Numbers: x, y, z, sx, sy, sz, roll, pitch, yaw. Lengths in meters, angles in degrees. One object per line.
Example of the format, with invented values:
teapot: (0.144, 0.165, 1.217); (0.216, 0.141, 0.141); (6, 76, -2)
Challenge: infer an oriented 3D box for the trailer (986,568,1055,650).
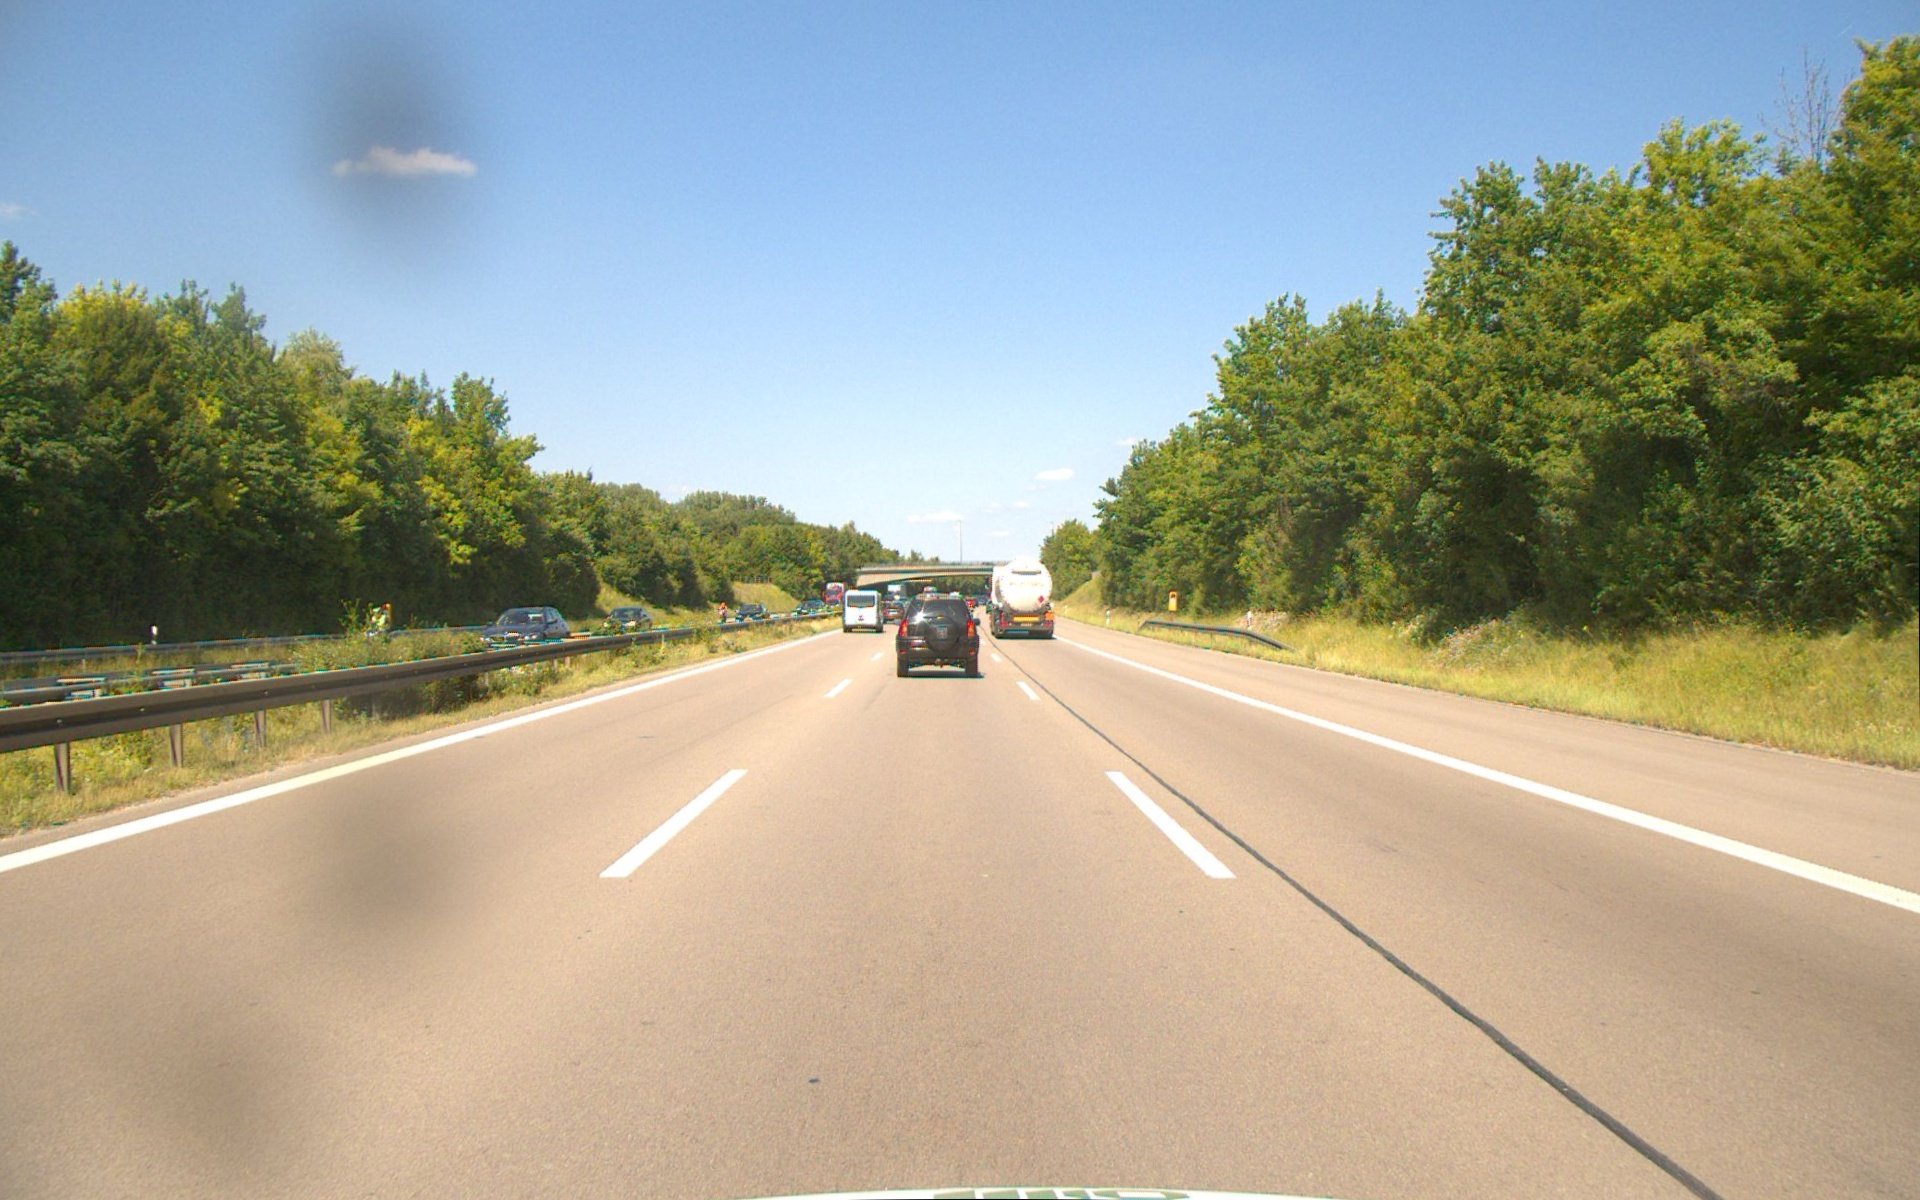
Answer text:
trailer: (2.647, 0.450, 75.332); (2.594, 3.449, 11.149); (1, -1, -1)

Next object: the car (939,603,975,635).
car: (-0.143, 1.116, 95.097); (1.952, 1.713, 4.000); (0, -2, 2)

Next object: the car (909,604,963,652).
car: (-0.905, 1.059, 62.933); (1.953, 1.736, 4.335); (-1, -1, 0)

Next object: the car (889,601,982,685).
car: (-0.471, 0.912, 35.771); (1.867, 1.694, 4.000); (0, -1, 1)

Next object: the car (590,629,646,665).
car: (-16.404, 2.248, 79.494); (1.829, 1.613, 4.556); (-1, -1, -1)

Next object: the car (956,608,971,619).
car: (0.471, 1.892, 230.850); (1.953, 1.601, 3.999); (-1, -1, -1)

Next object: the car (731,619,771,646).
car: (-12.800, 1.978, 101.579); (1.953, 1.547, 4.426); (-1, -1, -1)

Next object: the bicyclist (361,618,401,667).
bicyclist: (-19.115, 1.402, 54.652); (0.862, 1.604, 1.286); (0, -2, -1)

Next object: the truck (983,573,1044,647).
truck: (2.548, 0.515, 80.324); (2.584, 3.434, 6.485); (1, -1, -2)

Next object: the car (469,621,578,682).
car: (-12.360, 1.438, 47.114); (1.953, 1.626, 4.590); (0, -1, -1)

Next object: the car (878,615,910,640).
car: (-4.307, 1.803, 108.476); (1.953, 1.579, 3.999); (0, -2, -1)

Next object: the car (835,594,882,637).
car: (-5.014, 0.801, 82.381); (1.952, 2.049, 4.949); (-1, -1, 0)

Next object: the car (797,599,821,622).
car: (-12.853, 0.927, 140.760); (1.656, 1.915, 5.017); (-1, -1, -1)

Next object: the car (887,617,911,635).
car: (-5.455, 2.321, 148.217); (1.953, 1.601, 3.999); (-1, -1, -1)
